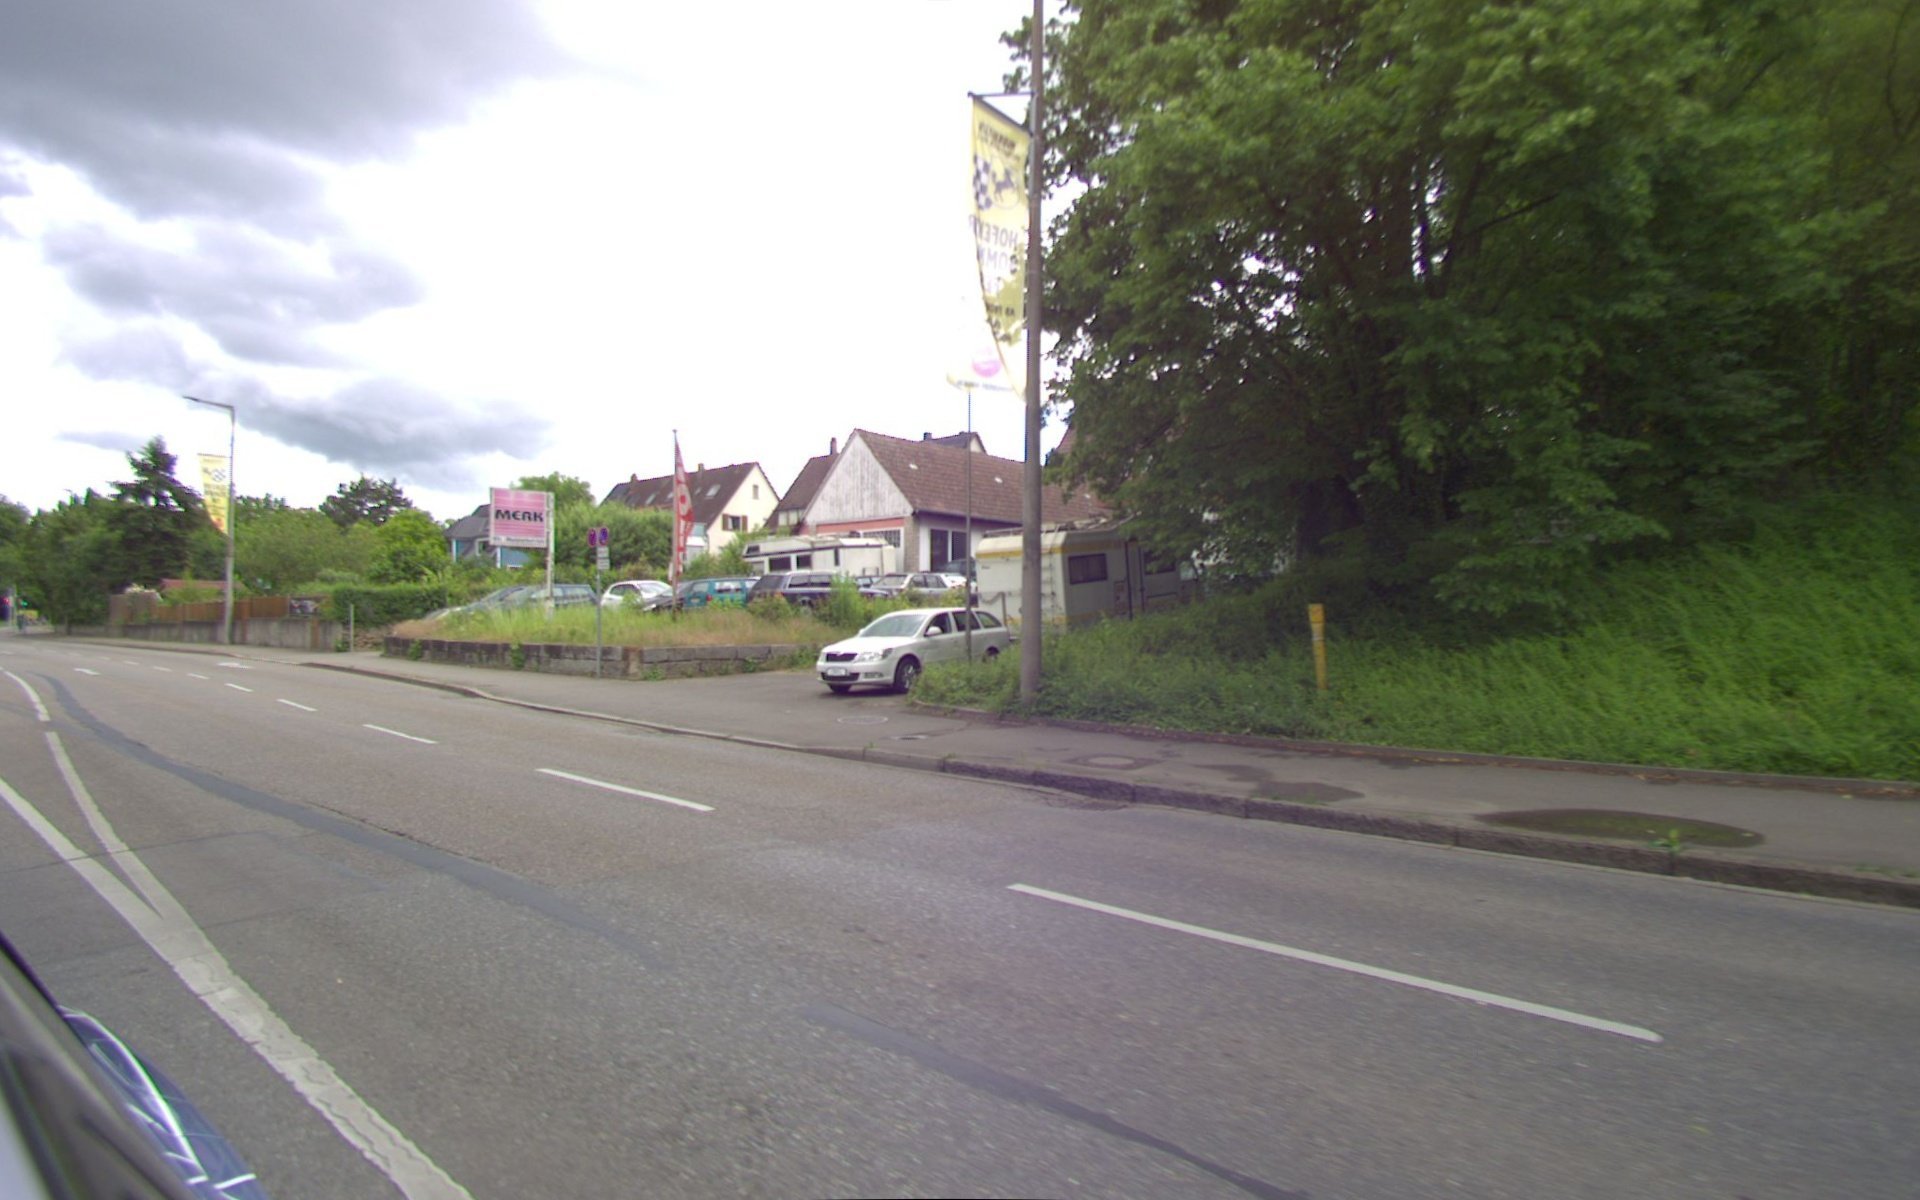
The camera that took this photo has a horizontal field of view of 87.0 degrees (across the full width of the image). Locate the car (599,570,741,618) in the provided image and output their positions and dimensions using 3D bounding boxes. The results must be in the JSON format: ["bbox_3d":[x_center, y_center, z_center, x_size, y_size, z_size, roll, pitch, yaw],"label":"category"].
[{"bbox_3d":[-8.935,-0.207,31.359,3.795,1.389,1.919,-2,1,-45],"label":"car"}]

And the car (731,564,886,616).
[{"bbox_3d":[-4.274,-0.309,28.832,3.941,1.380,2.001,-2,1,-45],"label":"car"}]

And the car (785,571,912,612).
[{"bbox_3d":[-3.650,-0.307,33.603,3.941,1.277,1.799,-2,1,-45],"label":"car"}]

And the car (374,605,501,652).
[{"bbox_3d":[-20.291,1.051,39.388,2.000,1.615,3.945,0,1,42],"label":"car"}]

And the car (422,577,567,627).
[{"bbox_3d":[-15.228,0.021,33.217,3.941,1.508,1.861,-2,1,-45],"label":"car"}]

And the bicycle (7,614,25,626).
[{"bbox_3d":[-110.092,2.318,118.036,0.537,1.262,1.940,-1,1,-12],"label":"bicycle"}]

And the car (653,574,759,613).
[{"bbox_3d":[-9.438,-0.244,37.473,4.284,1.328,1.651,0,1,41],"label":"car"}]

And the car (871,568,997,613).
[{"bbox_3d":[-0.991,-0.353,36.597,4.400,1.540,1.973,0,1,42],"label":"car"}]

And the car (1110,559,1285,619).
[{"bbox_3d":[7.223,-0.320,31.169,4.971,1.702,1.881,-1,1,43],"label":"car"}]

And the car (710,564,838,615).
[{"bbox_3d":[-6.362,-0.383,34.847,3.941,1.641,1.935,-2,1,-45],"label":"car"}]

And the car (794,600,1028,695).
[{"bbox_3d":[-0.785,0.779,18.800,1.959,1.452,4.333,-1,1,38],"label":"car"}]

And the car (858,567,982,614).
[{"bbox_3d":[-1.259,-0.331,32.510,3.701,1.411,1.848,-2,1,-45],"label":"car"}]

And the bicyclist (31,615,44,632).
[{"bbox_3d":[-84.445,2.156,92.651,0.977,1.546,0.636,-1,0,37],"label":"bicyclist"}]

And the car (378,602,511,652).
[{"bbox_3d":[-19.026,0.947,37.443,2.000,1.629,3.945,0,1,42],"label":"car"}]

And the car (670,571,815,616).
[{"bbox_3d":[-6.482,-0.224,30.414,1.886,1.278,3.889,0,1,42],"label":"car"}]

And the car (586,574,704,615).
[{"bbox_3d":[-11.028,-0.169,35.322,4.396,1.352,1.829,-1,-1,39],"label":"car"}]

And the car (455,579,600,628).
[{"bbox_3d":[-13.676,0.067,32.154,3.941,1.421,1.534,-2,1,-45],"label":"car"}]

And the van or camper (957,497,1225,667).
[{"bbox_3d":[3.374,-0.608,24.223,2.795,3.395,7.070,-1,4,41],"label":"van or camper"}]

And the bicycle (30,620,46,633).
[{"bbox_3d":[-84.394,2.450,92.631,2.144,1.154,0.636,-1,0,37],"label":"bicycle"}]

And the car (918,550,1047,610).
[{"bbox_3d":[0.791,-0.727,37.740,4.749,2.078,1.860,0,1,42],"label":"car"}]

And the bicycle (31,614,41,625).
[{"bbox_3d":[-108.063,2.278,118.344,0.536,1.262,1.941,-1,1,-32],"label":"bicycle"}]

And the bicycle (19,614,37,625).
[{"bbox_3d":[-109.032,2.299,118.400,0.537,1.262,1.940,-1,1,-12],"label":"bicycle"}]

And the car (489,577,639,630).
[{"bbox_3d":[-12.079,0.073,31.009,3.941,1.503,1.648,-2,1,-45],"label":"car"}]
